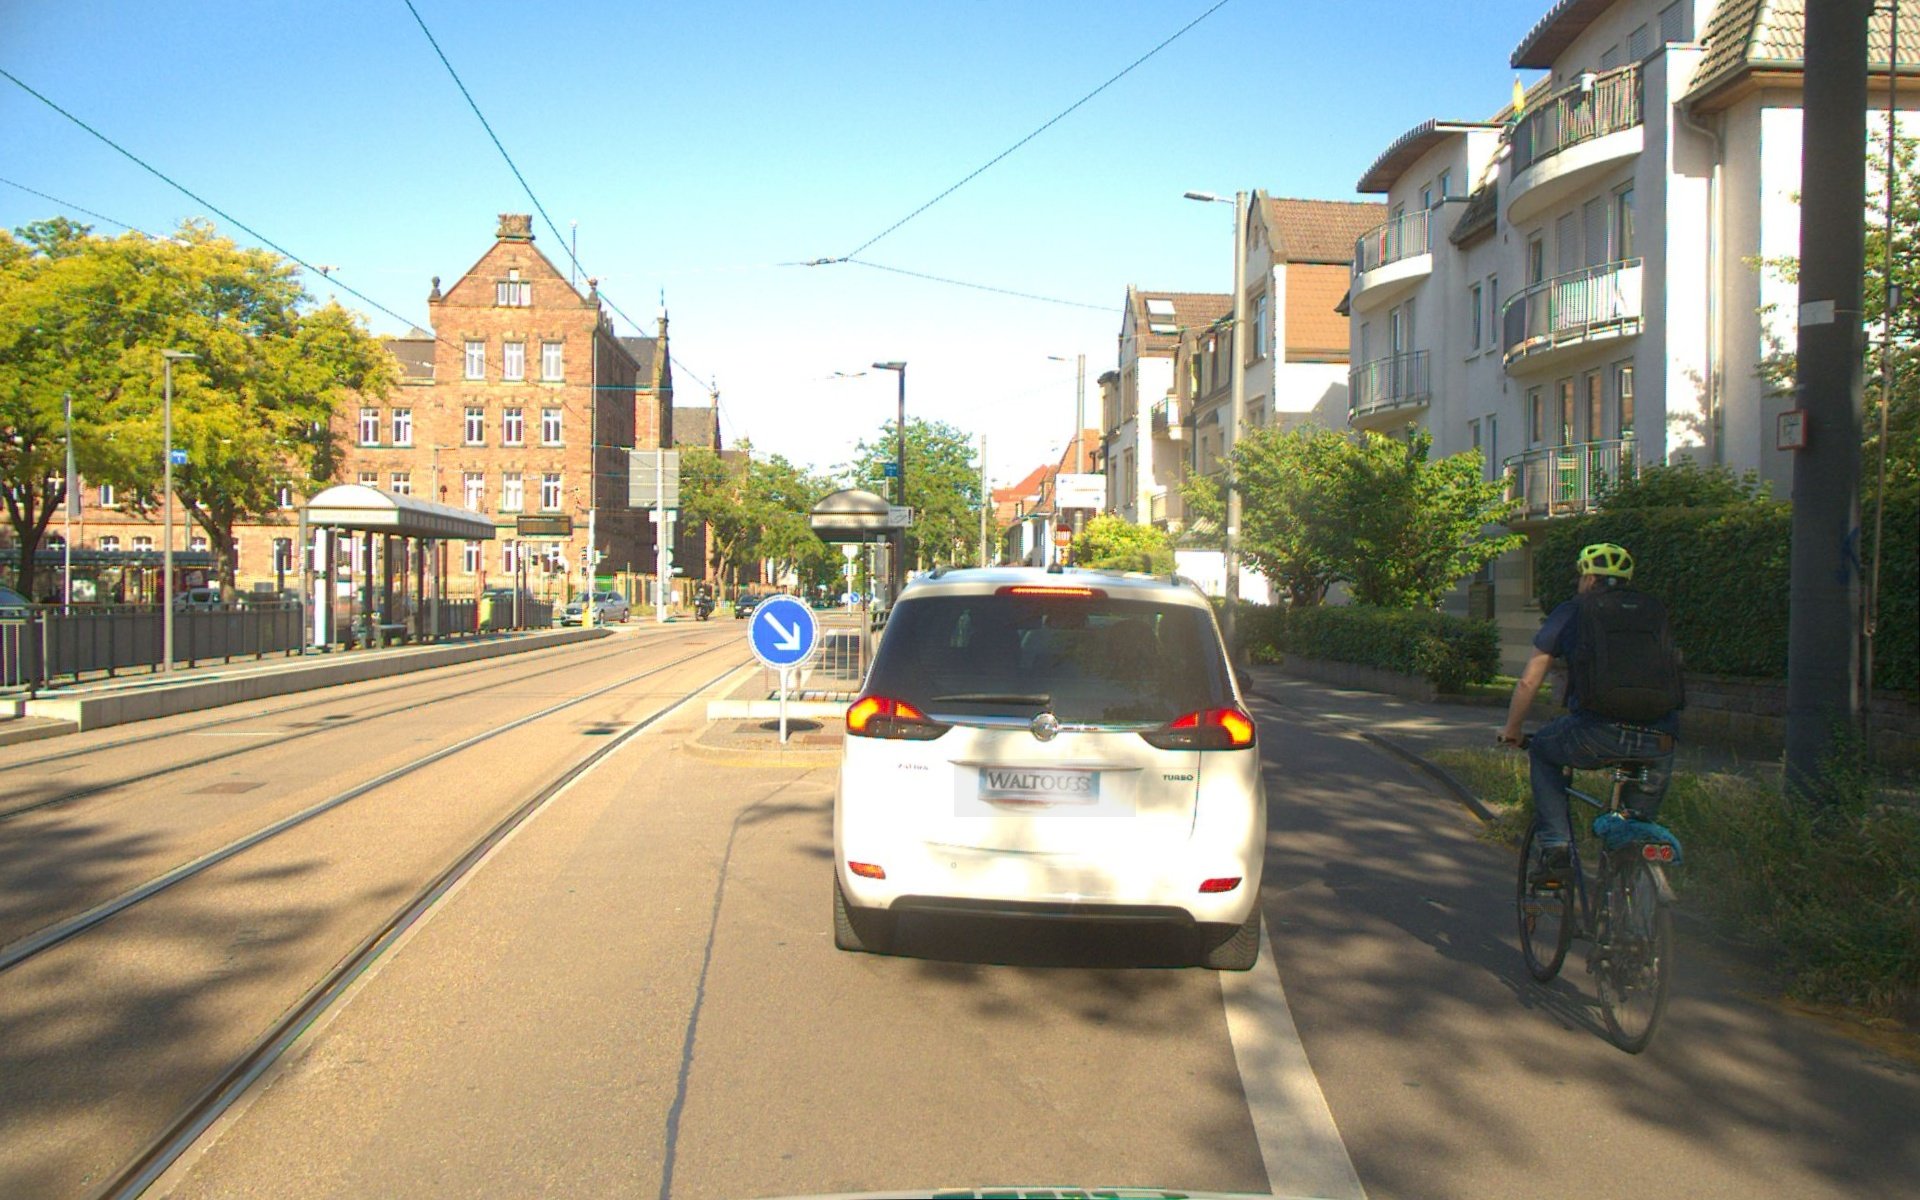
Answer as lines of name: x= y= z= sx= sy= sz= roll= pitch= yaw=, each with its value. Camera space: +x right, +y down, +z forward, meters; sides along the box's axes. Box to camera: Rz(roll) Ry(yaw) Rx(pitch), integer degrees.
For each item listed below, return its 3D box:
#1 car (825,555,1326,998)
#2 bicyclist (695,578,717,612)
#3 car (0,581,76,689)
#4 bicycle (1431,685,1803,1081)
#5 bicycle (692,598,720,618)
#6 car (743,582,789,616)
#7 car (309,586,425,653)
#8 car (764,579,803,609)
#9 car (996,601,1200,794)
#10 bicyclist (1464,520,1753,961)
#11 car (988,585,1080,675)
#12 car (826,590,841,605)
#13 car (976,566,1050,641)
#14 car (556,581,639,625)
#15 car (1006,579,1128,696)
car: x=0.579 y=0.632 z=8.093 sx=1.838 sy=1.613 sz=4.002 roll=0 pitch=0 yaw=5
bicyclist: x=-13.168 y=-0.255 z=85.811 sx=0.710 sy=1.717 sz=1.170 roll=1 pitch=1 yaw=11
car: x=-13.718 y=0.505 z=22.163 sx=1.764 sy=1.406 sz=4.488 roll=-2 pitch=1 yaw=-7
bicycle: x=2.391 y=0.962 z=6.285 sx=0.629 sy=1.163 sz=1.901 roll=0 pitch=0 yaw=-1
bicycle: x=-13.174 y=0.417 z=85.817 sx=0.710 sy=0.982 sz=2.062 roll=1 pitch=1 yaw=11
car: x=-11.990 y=-0.051 z=102.382 sx=1.951 sy=2.049 sz=4.002 roll=1 pitch=0 yaw=6
car: x=-15.530 y=0.517 z=43.537 sx=1.791 sy=1.645 sz=4.322 roll=1 pitch=-1 yaw=-5
car: x=-12.505 y=-0.434 z=117.238 sx=1.951 sy=2.049 sz=4.002 roll=1 pitch=0 yaw=6
car: x=1.229 y=0.761 z=14.801 sx=1.536 sy=1.426 sz=3.786 roll=2 pitch=0 yaw=5
bicyclist: x=2.410 y=0.488 z=6.267 sx=0.631 sy=1.514 sz=1.114 roll=1 pitch=0 yaw=-1
car: x=1.455 y=0.575 z=33.699 sx=1.563 sy=1.663 sz=3.900 roll=2 pitch=0 yaw=-1
car: x=-17.694 y=-0.378 z=231.091 sx=1.955 sy=2.049 sz=3.994 roll=1 pitch=0 yaw=-6
car: x=1.241 y=0.066 z=40.188 sx=1.563 sy=1.663 sz=3.901 roll=2 pitch=0 yaw=-1
car: x=-15.555 y=0.158 z=71.257 sx=1.788 sy=1.819 sz=4.331 roll=0 pitch=-1 yaw=13
car: x=1.599 y=0.528 z=25.795 sx=1.537 sy=1.643 sz=3.783 roll=2 pitch=0 yaw=-1
